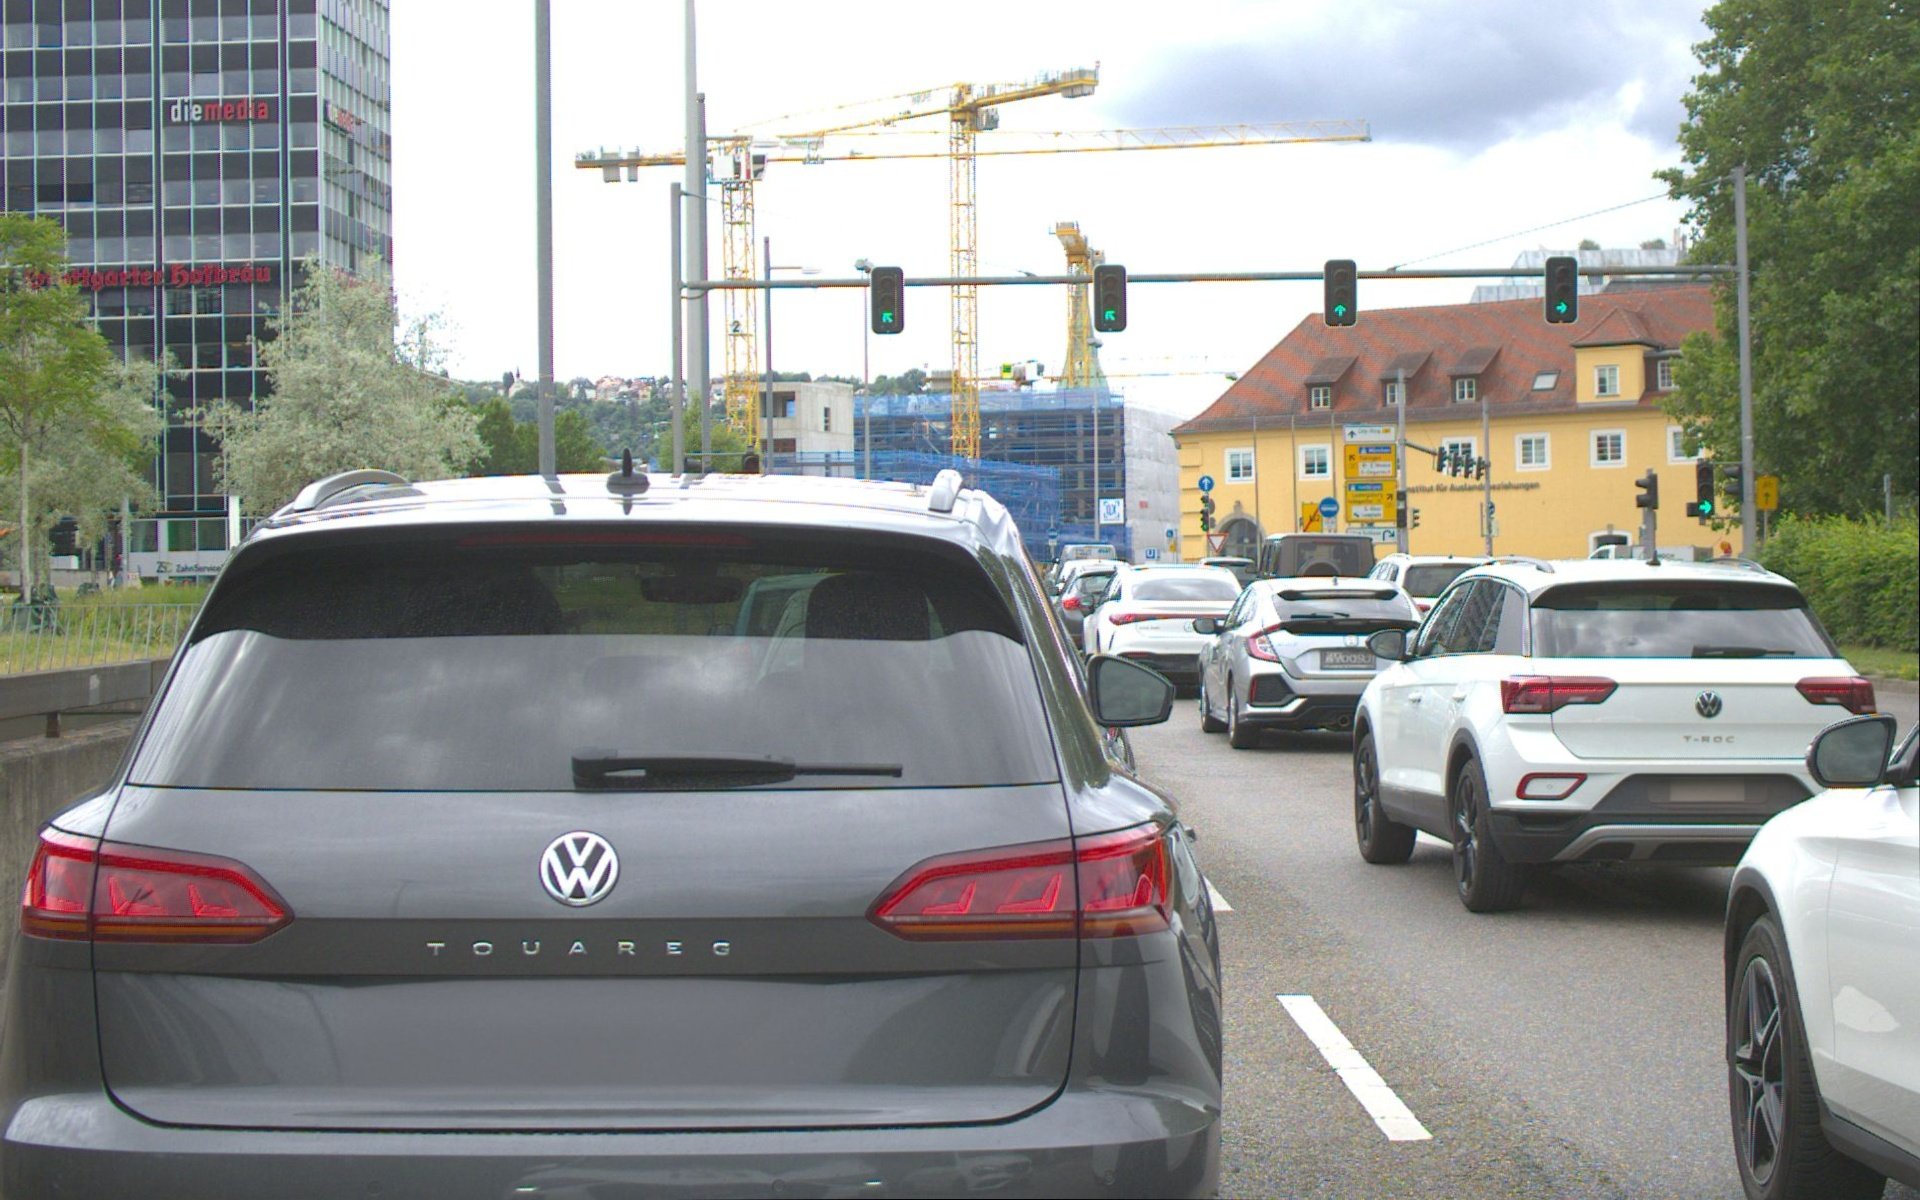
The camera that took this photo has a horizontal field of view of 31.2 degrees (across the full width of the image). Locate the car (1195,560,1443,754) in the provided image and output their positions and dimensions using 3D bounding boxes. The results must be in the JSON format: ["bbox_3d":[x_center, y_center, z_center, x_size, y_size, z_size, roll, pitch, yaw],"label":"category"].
[{"bbox_3d":[2.994,0.431,29.417,1.719,1.497,4.144,0,1,1],"label":"car"}]

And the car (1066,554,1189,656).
[{"bbox_3d":[2.568,0.045,53.396,1.719,1.497,3.981,0,1,0],"label":"car"}]

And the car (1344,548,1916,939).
[{"bbox_3d":[2.968,0.563,16.050,1.893,1.580,3.801,0,1,0],"label":"car"}]

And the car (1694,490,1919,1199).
[{"bbox_3d":[2.688,0.624,6.210,1.819,1.641,4.379,0,1,1],"label":"car"}]

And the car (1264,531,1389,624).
[{"bbox_3d":[6.149,-0.403,58.050,1.719,1.497,3.981,0,1,1],"label":"car"}]

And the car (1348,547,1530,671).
[{"bbox_3d":[6.094,0.077,44.107,1.803,1.497,3.981,0,1,1],"label":"car"}]

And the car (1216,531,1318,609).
[{"bbox_3d":[6.114,-0.627,68.748,1.719,1.497,3.981,0,1,1],"label":"car"}]

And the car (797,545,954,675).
[{"bbox_3d":[-1.002,0.085,41.905,1.814,1.491,3.906,0,1,-1],"label":"car"}]

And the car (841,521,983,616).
[{"bbox_3d":[-0.759,-0.552,57.261,2.244,1.497,4.611,0,1,1],"label":"car"}]

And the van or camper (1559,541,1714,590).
[{"bbox_3d":[27.979,-1.416,142.278,6.017,2.007,2.015,0,1,35],"label":"van or camper"}]

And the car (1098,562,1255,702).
[{"bbox_3d":[2.480,0.334,39.916,1.719,1.497,3.981,0,1,3],"label":"car"}]

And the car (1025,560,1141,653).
[{"bbox_3d":[2.352,0.096,65.775,2.139,1.722,4.070,0,0,2],"label":"car"}]

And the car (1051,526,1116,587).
[{"bbox_3d":[4.117,-1.458,115.300,1.993,2.007,4.000,0,1,-1],"label":"car"}]

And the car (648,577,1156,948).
[{"bbox_3d":[-0.250,0.626,15.508,1.993,1.382,4.000,0,1,-1],"label":"car"}]

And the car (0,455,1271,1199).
[{"bbox_3d":[-0.567,0.586,6.710,1.933,1.641,4.000,0,1,-1],"label":"car"}]
